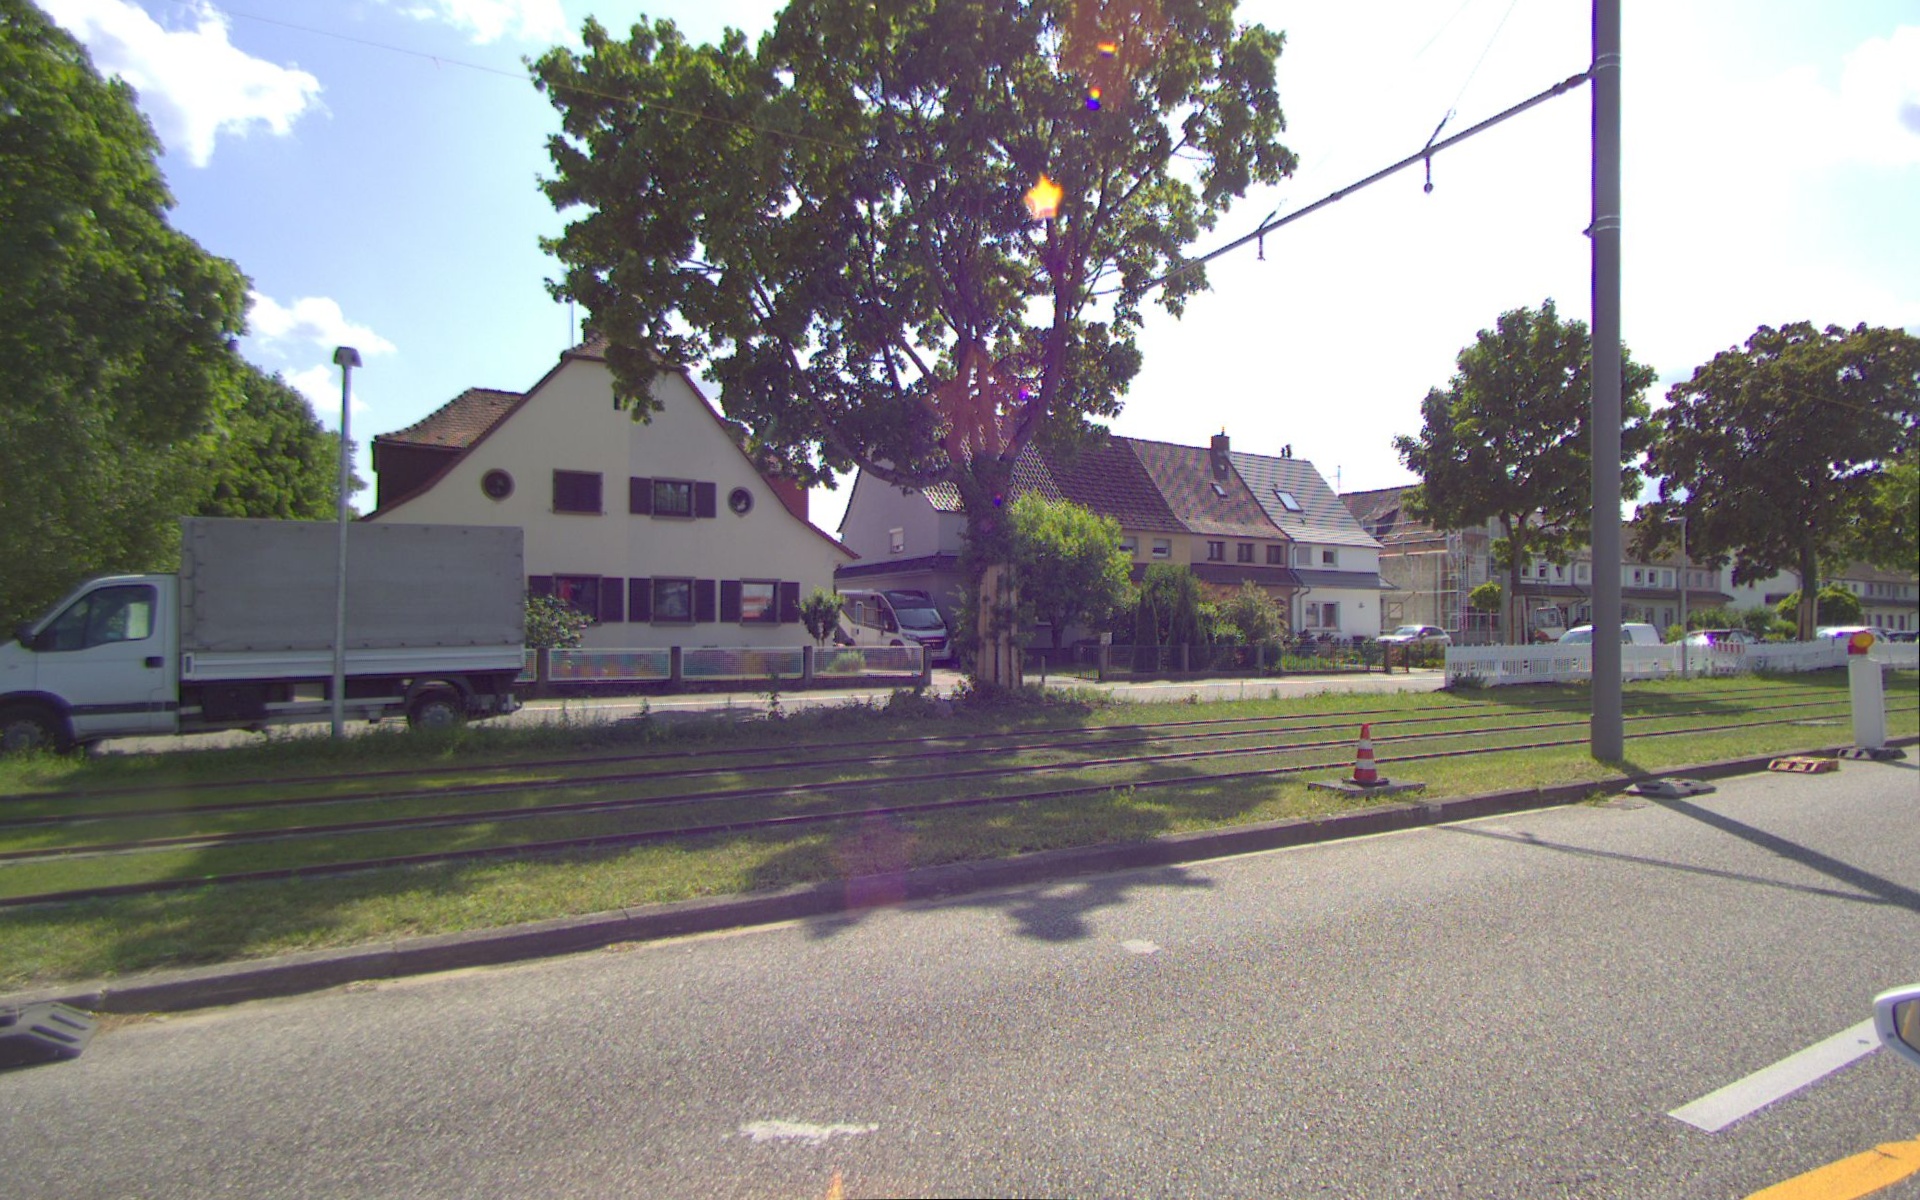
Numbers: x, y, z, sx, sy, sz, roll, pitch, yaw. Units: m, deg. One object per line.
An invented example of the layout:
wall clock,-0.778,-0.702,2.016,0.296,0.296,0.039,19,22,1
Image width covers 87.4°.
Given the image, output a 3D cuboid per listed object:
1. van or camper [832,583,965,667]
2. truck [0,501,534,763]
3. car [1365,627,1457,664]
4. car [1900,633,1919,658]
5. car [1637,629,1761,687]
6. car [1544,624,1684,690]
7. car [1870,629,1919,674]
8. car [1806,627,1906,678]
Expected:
van or camper,-2.373,0.941,36.653,2.269,2.801,6.051,1,-2,-32
truck,-8.833,0.406,12.973,5.906,2.817,2.255,1,-2,-31
car,19.993,1.991,44.496,3.952,1.539,1.768,1,-2,-30
car,70.036,3.301,72.744,4.079,1.745,1.768,1,-2,-30
car,24.293,1.852,33.000,4.177,1.797,1.768,1,-2,-30
car,19.573,1.644,30.025,4.312,1.845,1.768,1,-2,-30
car,40.649,2.164,42.695,4.079,1.829,1.768,1,-2,-30
car,35.365,2.030,39.639,4.079,1.892,1.768,1,-2,-30
